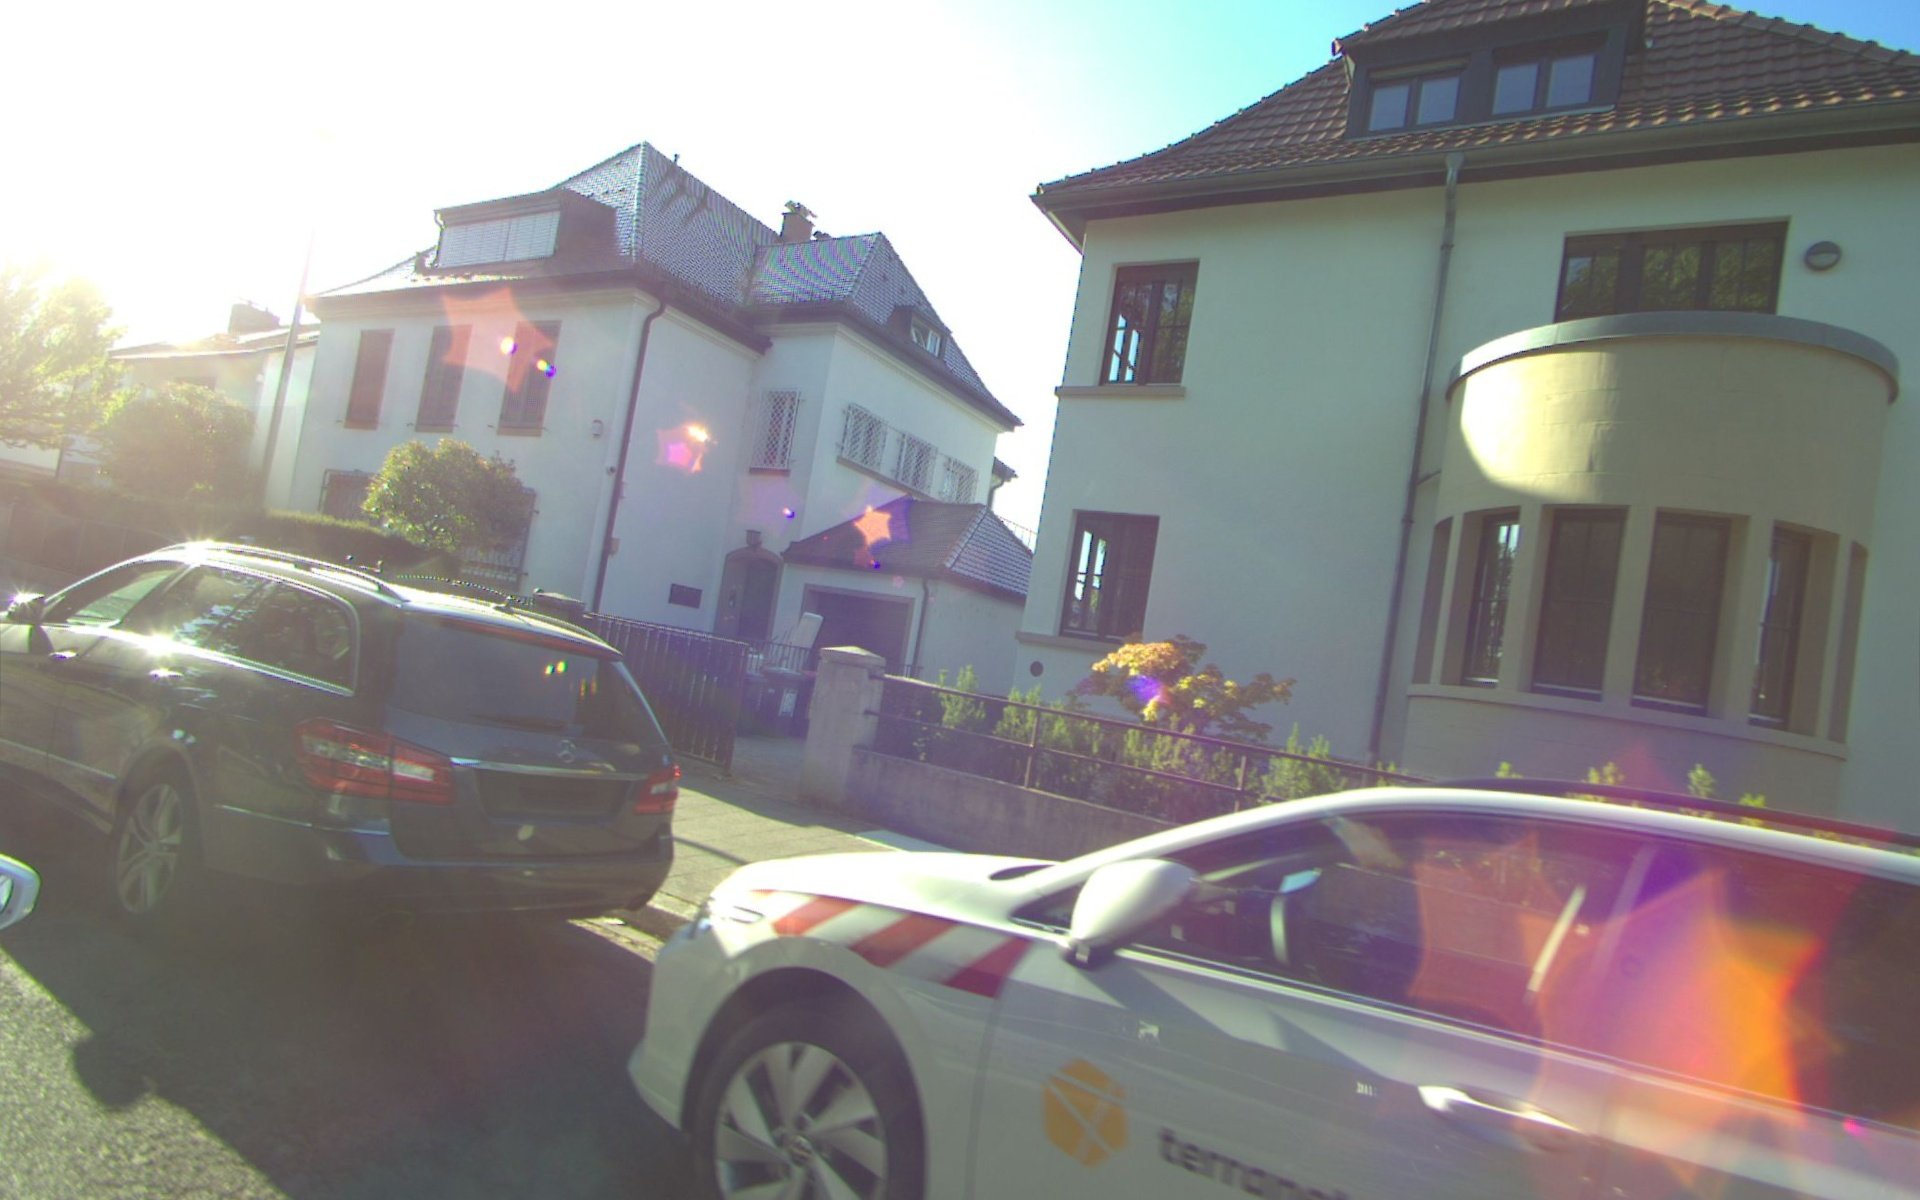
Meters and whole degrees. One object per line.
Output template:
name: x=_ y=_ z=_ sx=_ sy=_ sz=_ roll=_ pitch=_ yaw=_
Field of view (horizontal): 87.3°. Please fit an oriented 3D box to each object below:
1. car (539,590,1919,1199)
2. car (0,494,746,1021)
car: x=1.419 y=1.115 z=2.476 sx=4.471 sy=1.479 sz=2.002 roll=8 pitch=-4 yaw=28
car: x=-3.493 y=0.503 z=5.124 sx=4.517 sy=1.476 sz=1.788 roll=8 pitch=-7 yaw=31
